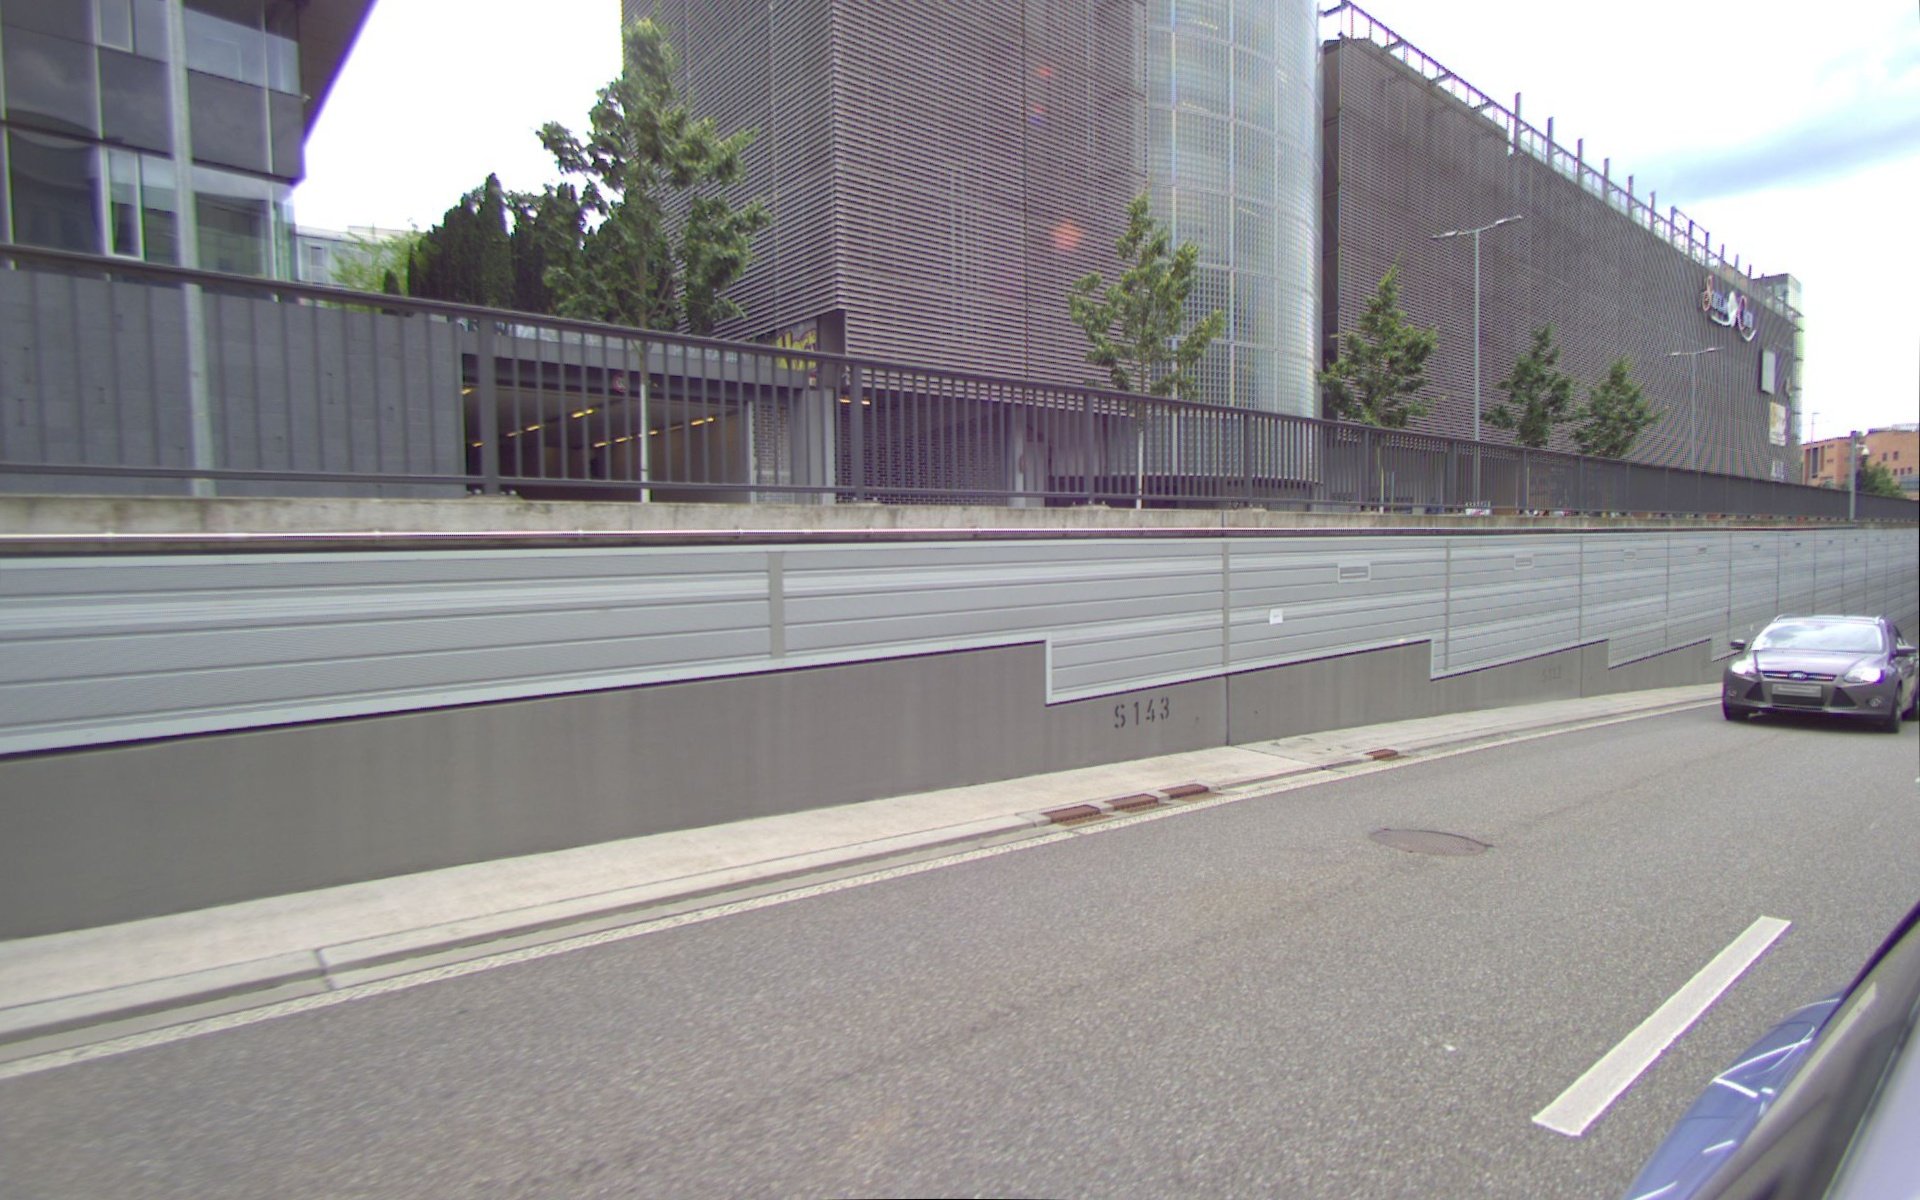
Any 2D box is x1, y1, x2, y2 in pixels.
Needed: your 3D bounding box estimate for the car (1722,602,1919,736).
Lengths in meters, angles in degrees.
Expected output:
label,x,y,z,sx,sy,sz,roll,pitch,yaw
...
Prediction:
label,x,y,z,sx,sy,sz,roll,pitch,yaw
car,12.197,0.821,14.017,4.193,1.518,1.751,0,1,-40
